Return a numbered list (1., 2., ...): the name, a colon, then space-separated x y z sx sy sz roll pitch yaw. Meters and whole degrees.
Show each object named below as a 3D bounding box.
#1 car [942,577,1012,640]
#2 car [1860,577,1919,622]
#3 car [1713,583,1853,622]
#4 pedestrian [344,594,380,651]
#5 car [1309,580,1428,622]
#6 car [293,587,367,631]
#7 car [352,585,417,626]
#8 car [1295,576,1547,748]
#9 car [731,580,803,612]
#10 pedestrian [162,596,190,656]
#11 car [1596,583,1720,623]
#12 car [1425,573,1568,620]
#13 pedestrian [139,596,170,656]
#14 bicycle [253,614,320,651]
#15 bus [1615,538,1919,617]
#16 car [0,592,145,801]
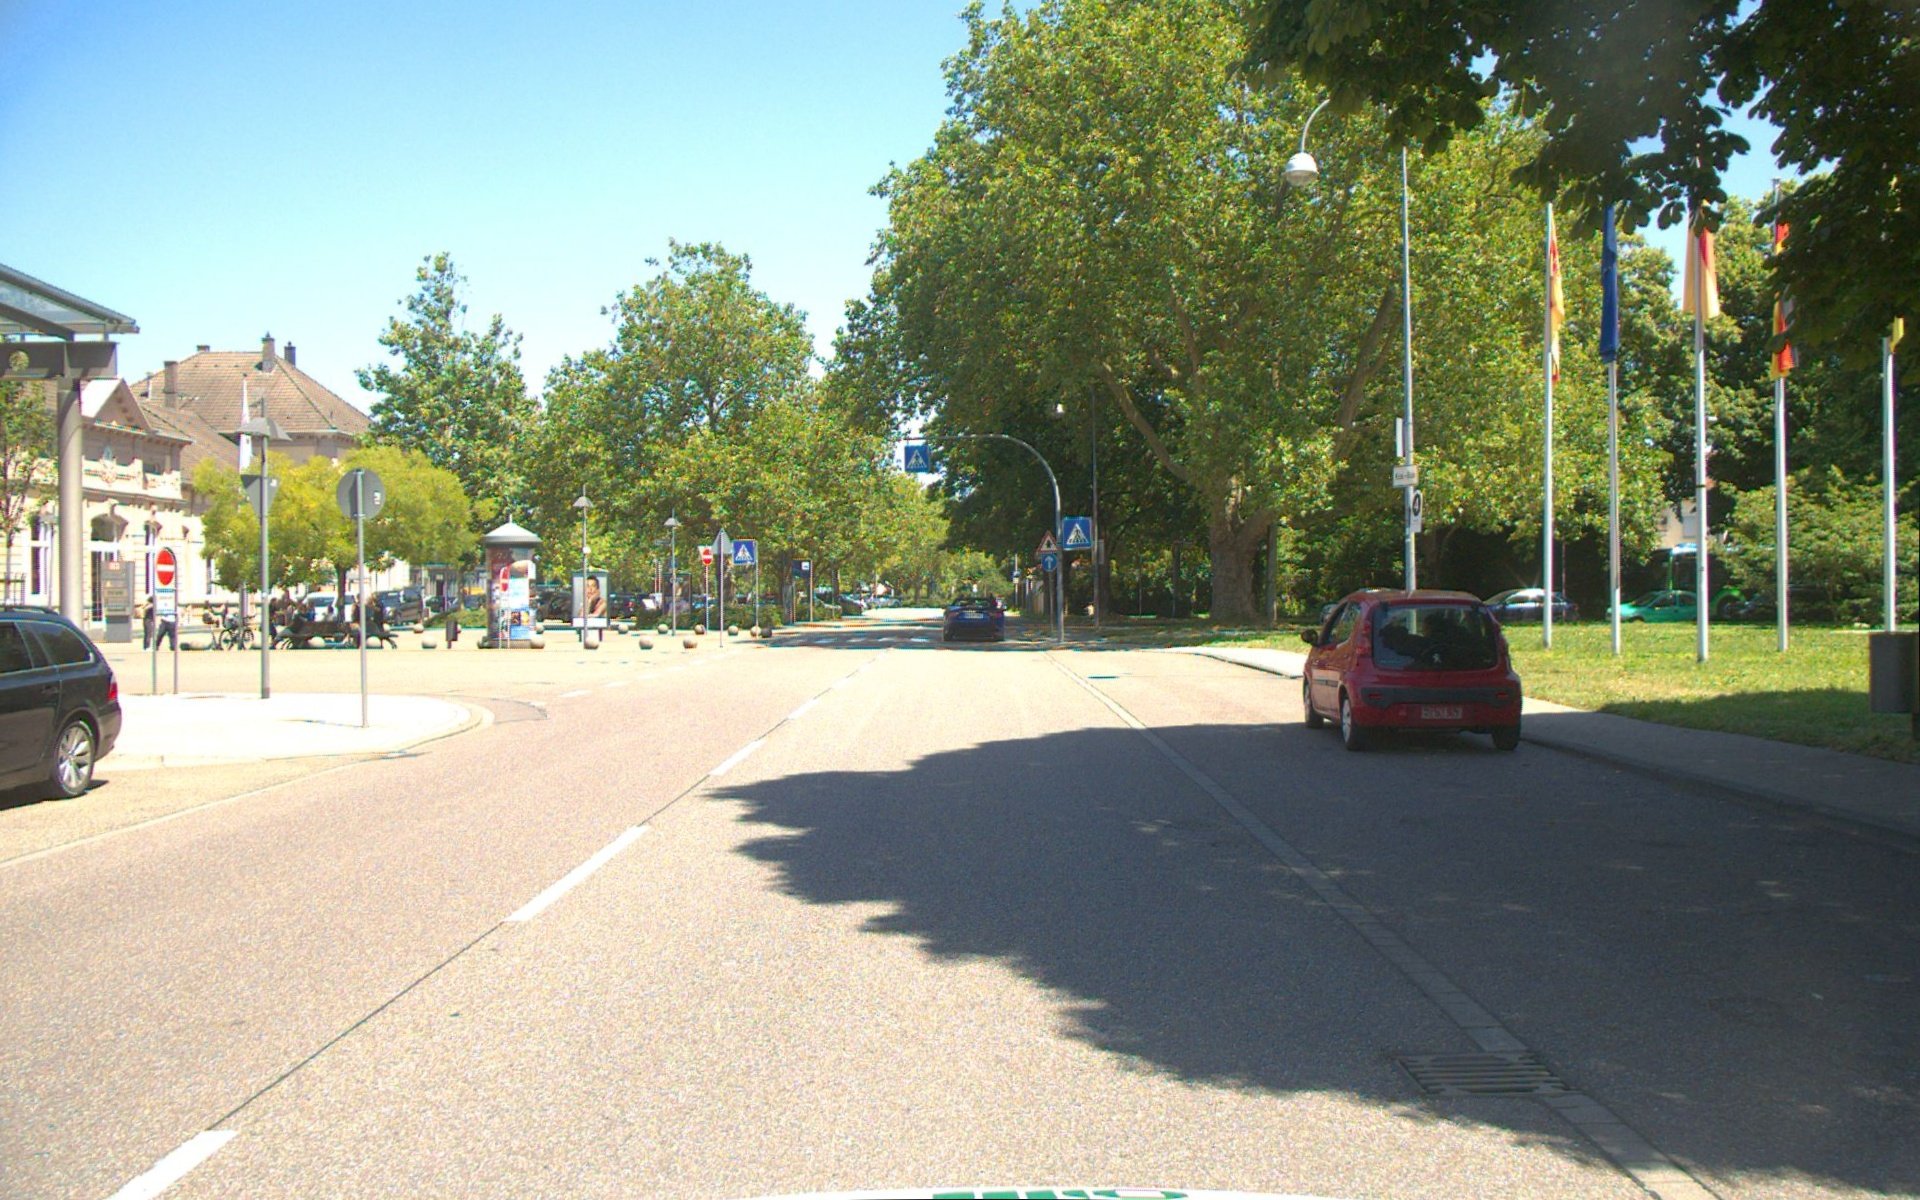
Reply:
1. car: 0.573 0.260 51.295 2.081 1.881 4.049 0 0 2
2. car: 36.141 -0.005 61.708 4.012 1.637 2.000 0 -1 2
3. car: 30.800 0.107 61.960 4.247 1.441 2.000 0 -1 1
4. pedestrian: -18.165 0.688 50.215 0.744 1.688 0.721 -1 -2 17
5. car: 15.388 0.024 62.453 4.019 1.492 2.001 -1 0 3
6. car: -29.956 0.392 78.782 1.715 1.951 4.775 -1 1 0
7. car: -29.723 0.255 85.502 1.953 2.049 3.999 -1 0 -1
8. car: 4.473 0.552 16.575 1.682 1.504 3.708 -1 0 4
9. car: -11.335 -0.225 97.146 3.925 1.813 1.990 0 -1 -18
10. pedestrian: -22.917 0.759 48.357 0.578 1.740 0.581 -2 -2 44
11. car: 26.134 0.118 62.012 3.800 1.479 2.000 0 -1 1
12. car: 20.060 -0.133 61.973 4.722 1.635 2.001 -1 0 4
13. pedestrian: -23.240 0.750 47.711 0.621 1.702 0.652 -2 -2 44
14. bicycle: -19.326 0.932 47.501 1.769 1.048 0.485 0 0 -24
15. bus: 33.344 -0.910 67.672 12.125 3.030 2.268 -1 -1 0
16. car: -7.749 0.711 11.666 1.684 1.504 4.785 -1 0 -1
